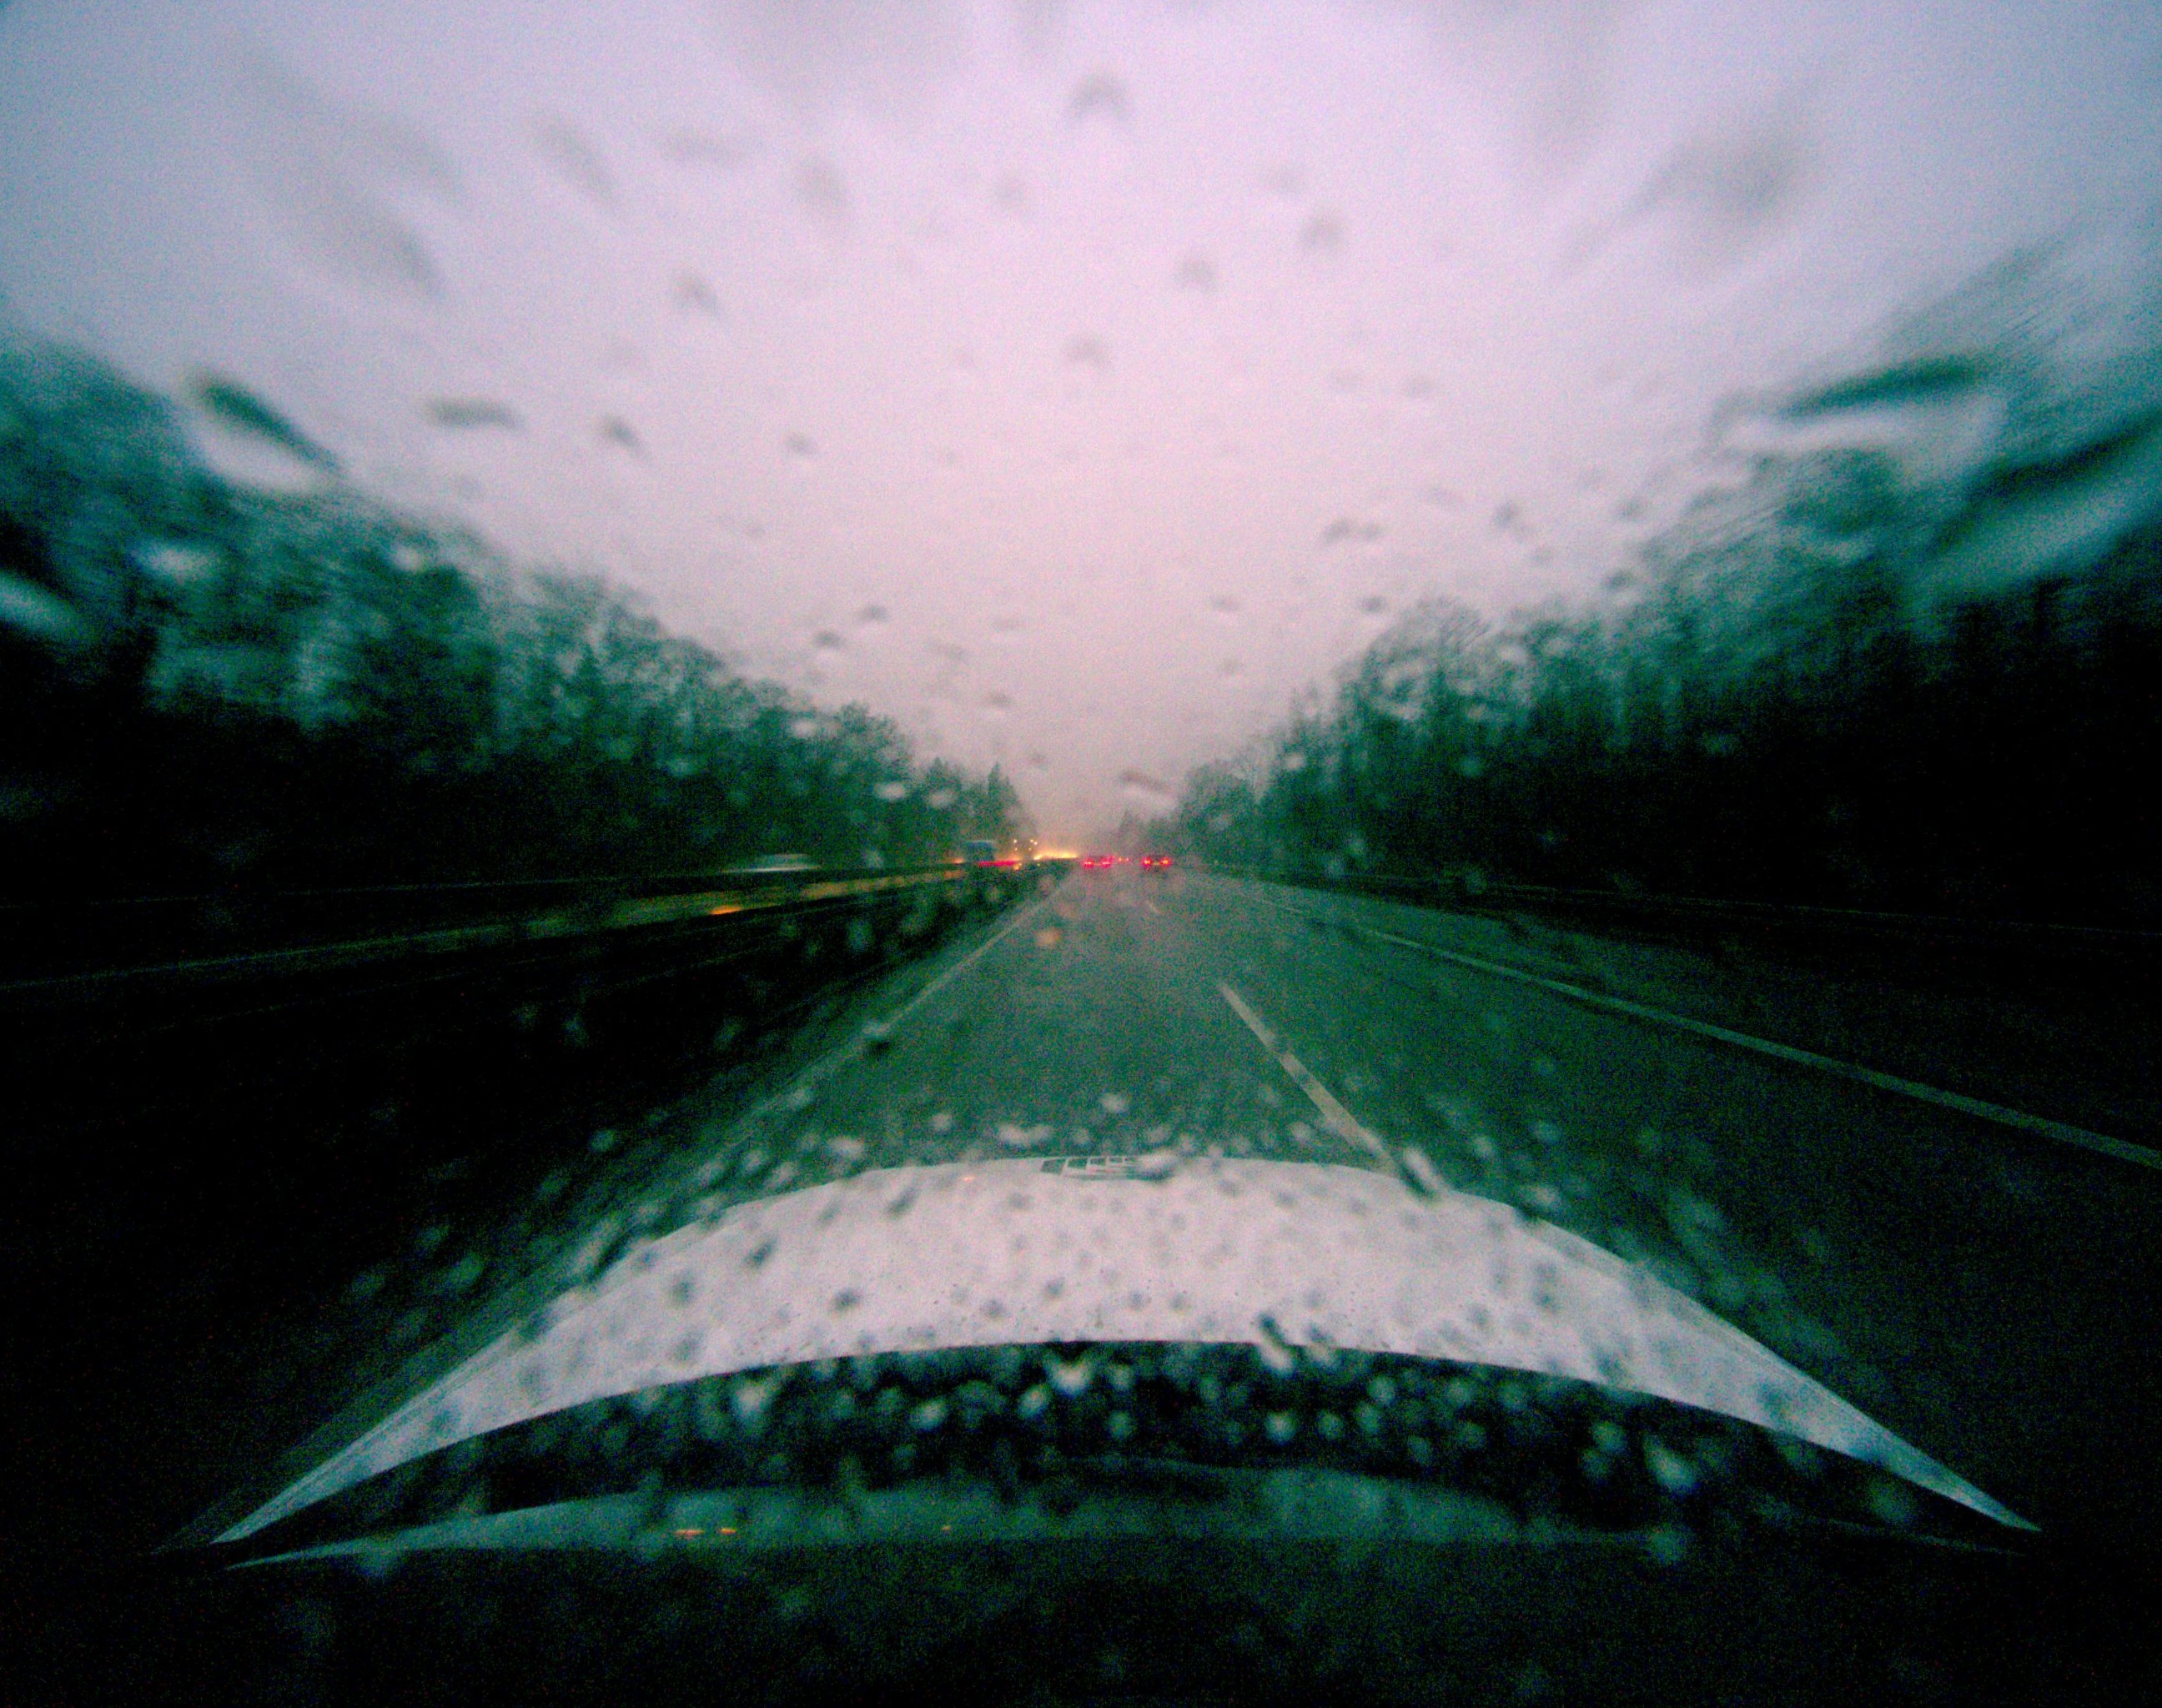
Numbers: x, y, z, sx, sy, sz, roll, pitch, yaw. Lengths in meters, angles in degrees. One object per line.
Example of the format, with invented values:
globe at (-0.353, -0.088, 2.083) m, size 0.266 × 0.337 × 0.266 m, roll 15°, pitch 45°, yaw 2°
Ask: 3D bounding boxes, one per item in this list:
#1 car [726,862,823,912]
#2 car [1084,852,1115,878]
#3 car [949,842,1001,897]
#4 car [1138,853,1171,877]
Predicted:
car at (-10.986, 1.128, 29.548) m, size 1.684 × 1.647 × 4.606 m, roll -1°, pitch 0°, yaw 1°
car at (1.251, 0.749, 56.814) m, size 1.980 × 1.767 × 4.172 m, roll -1°, pitch 0°, yaw 0°
car at (-6.291, 0.882, 49.020) m, size 2.296 × 3.090 × 5.608 m, roll 0°, pitch 0°, yaw 1°
car at (5.337, 0.770, 59.305) m, size 2.063 × 1.698 × 4.461 m, roll -1°, pitch 0°, yaw 1°
